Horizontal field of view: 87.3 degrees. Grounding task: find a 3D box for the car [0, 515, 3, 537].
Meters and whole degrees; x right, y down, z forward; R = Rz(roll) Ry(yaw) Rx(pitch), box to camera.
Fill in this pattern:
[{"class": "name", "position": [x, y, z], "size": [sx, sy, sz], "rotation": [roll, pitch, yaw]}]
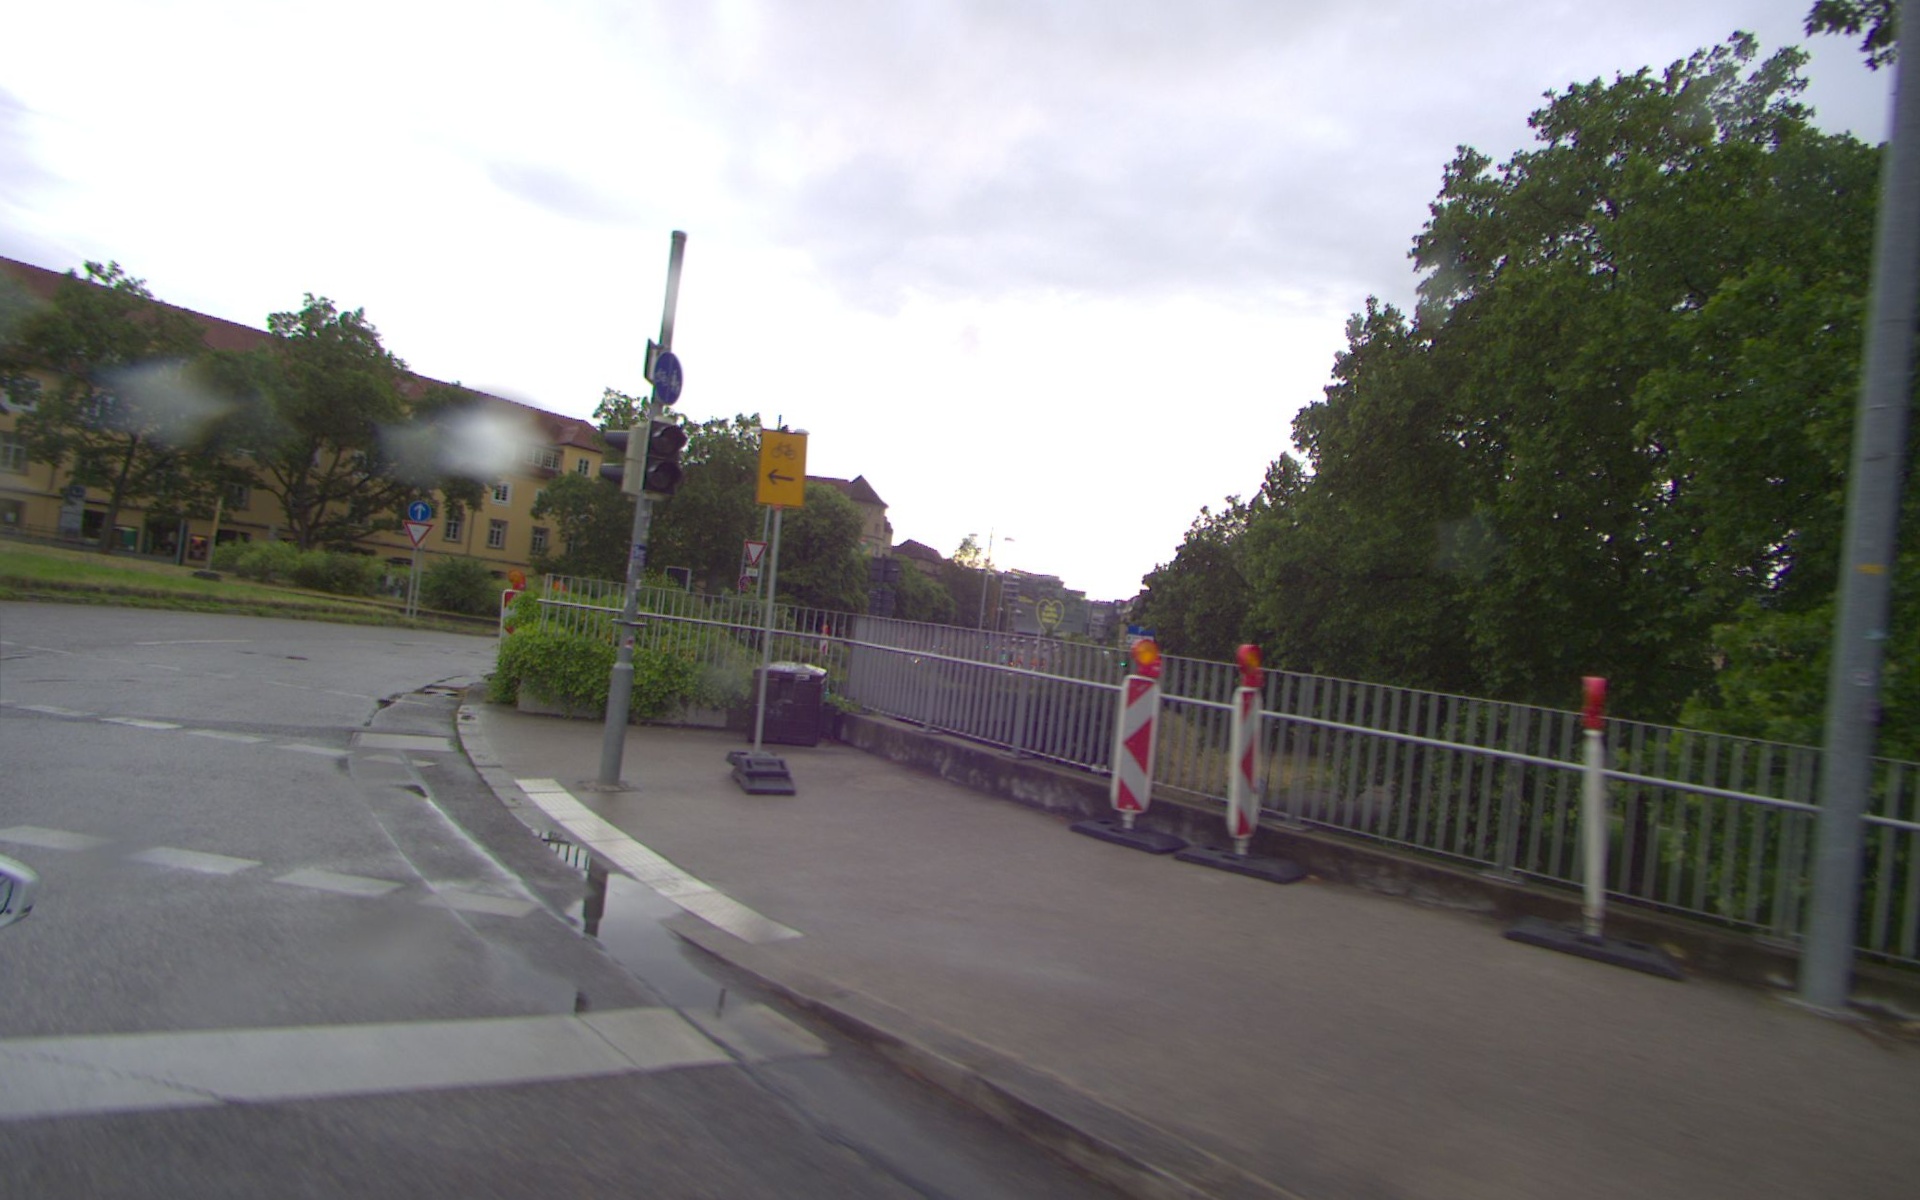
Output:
[{"class": "car", "position": [-40.975, -3.126, 39.065], "size": [1.534, 1.376, 5.291], "rotation": [4, -5, 37]}]
